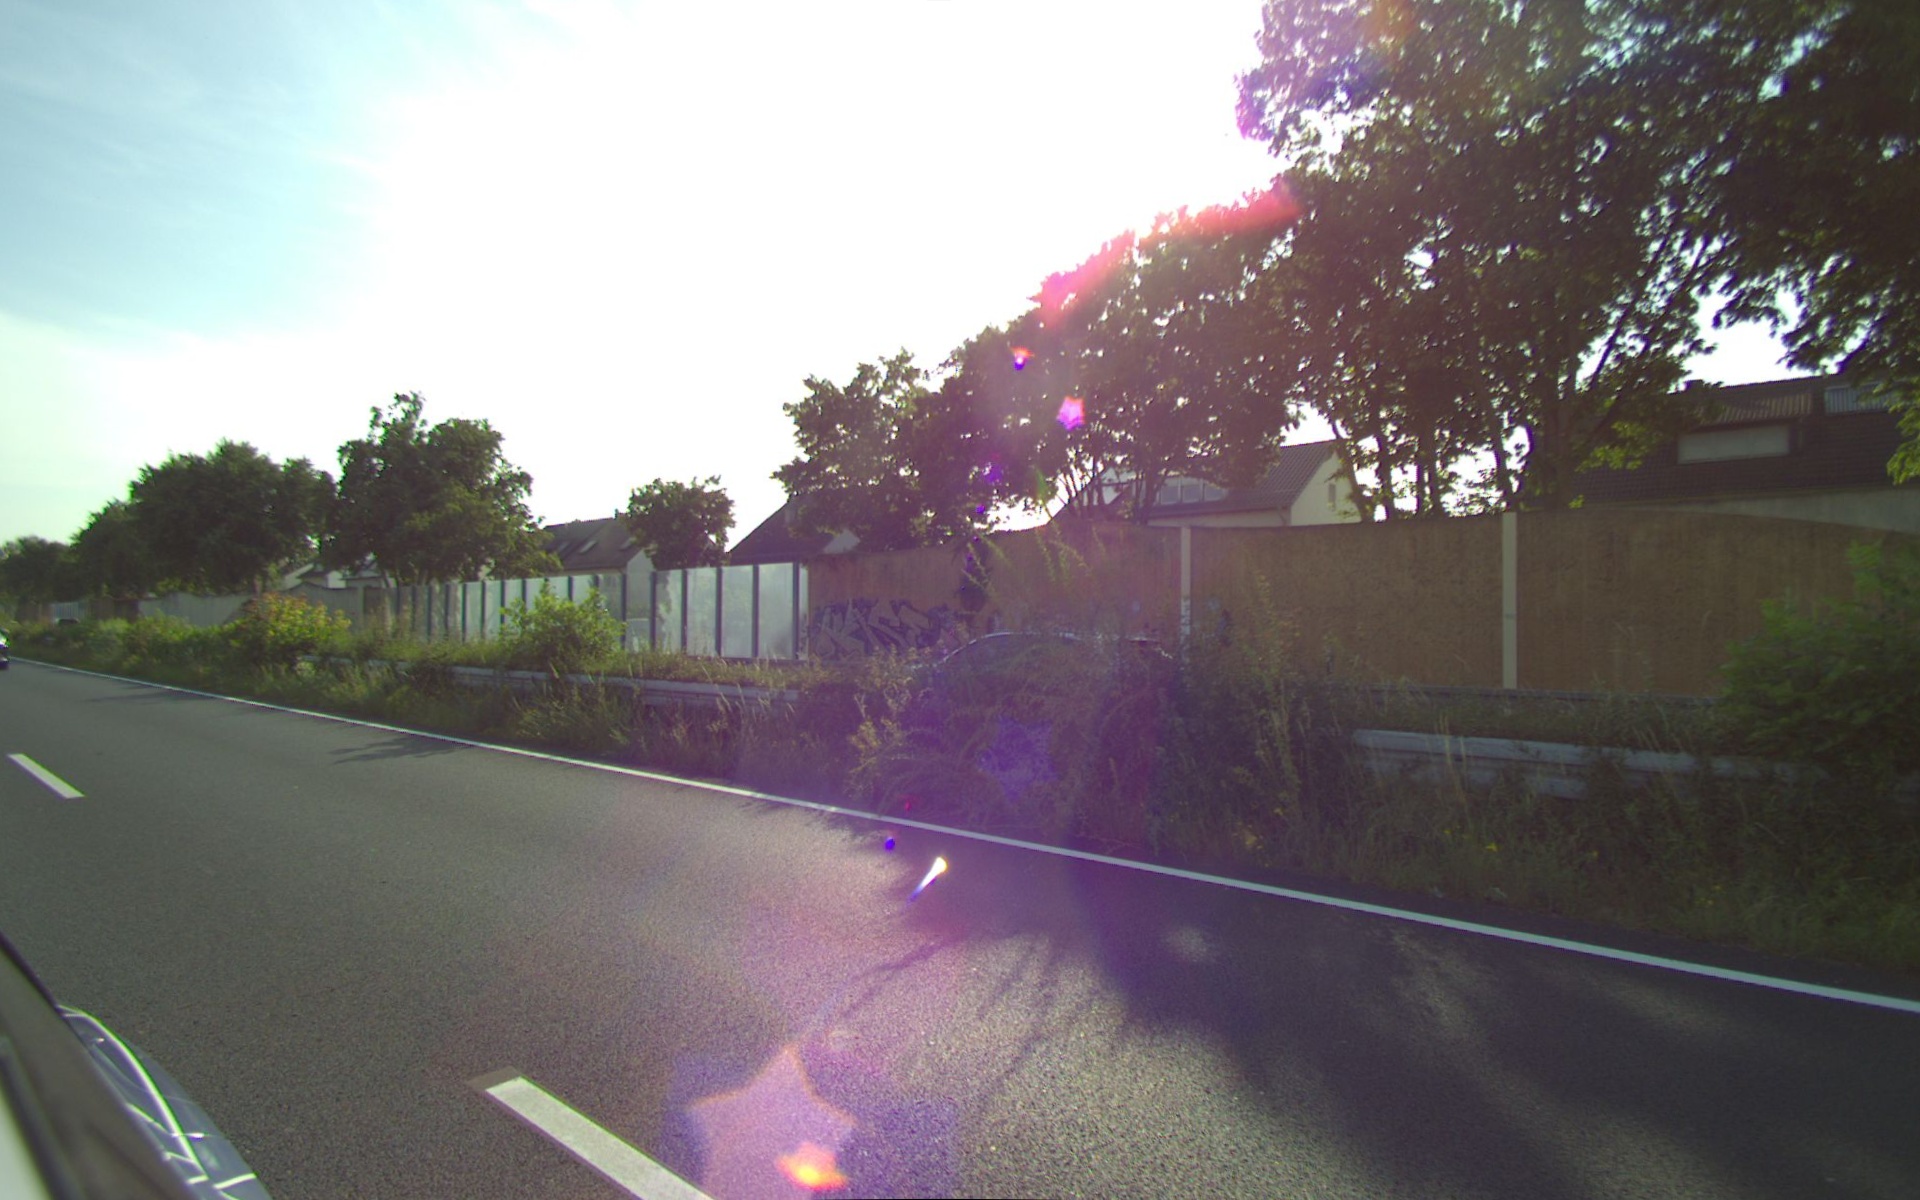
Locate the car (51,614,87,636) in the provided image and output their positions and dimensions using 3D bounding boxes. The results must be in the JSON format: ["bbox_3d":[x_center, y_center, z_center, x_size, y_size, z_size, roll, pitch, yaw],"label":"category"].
[{"bbox_3d":[-78.411,2.179,89.055,4.298,1.808,1.818,-1,0,41],"label":"car"}]

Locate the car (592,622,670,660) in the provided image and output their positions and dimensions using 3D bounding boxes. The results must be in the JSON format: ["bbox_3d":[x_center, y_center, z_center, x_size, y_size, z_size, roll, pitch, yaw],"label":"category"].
[{"bbox_3d":[-17.790,2.172,54.615,4.912,1.933,1.767,-1,0,41],"label":"car"}]

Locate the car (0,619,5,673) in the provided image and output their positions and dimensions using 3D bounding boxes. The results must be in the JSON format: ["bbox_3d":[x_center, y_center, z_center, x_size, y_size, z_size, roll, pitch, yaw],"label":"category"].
[{"bbox_3d":[-29.868,1.362,30.091,4.245,1.536,1.798,-1,0,42],"label":"car"}]

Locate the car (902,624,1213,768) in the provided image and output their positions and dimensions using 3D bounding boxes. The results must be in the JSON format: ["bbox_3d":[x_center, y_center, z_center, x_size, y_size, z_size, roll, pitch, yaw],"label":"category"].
[{"bbox_3d":[1.160,1.089,12.915,3.671,1.499,1.676,-1,0,41],"label":"car"}]
